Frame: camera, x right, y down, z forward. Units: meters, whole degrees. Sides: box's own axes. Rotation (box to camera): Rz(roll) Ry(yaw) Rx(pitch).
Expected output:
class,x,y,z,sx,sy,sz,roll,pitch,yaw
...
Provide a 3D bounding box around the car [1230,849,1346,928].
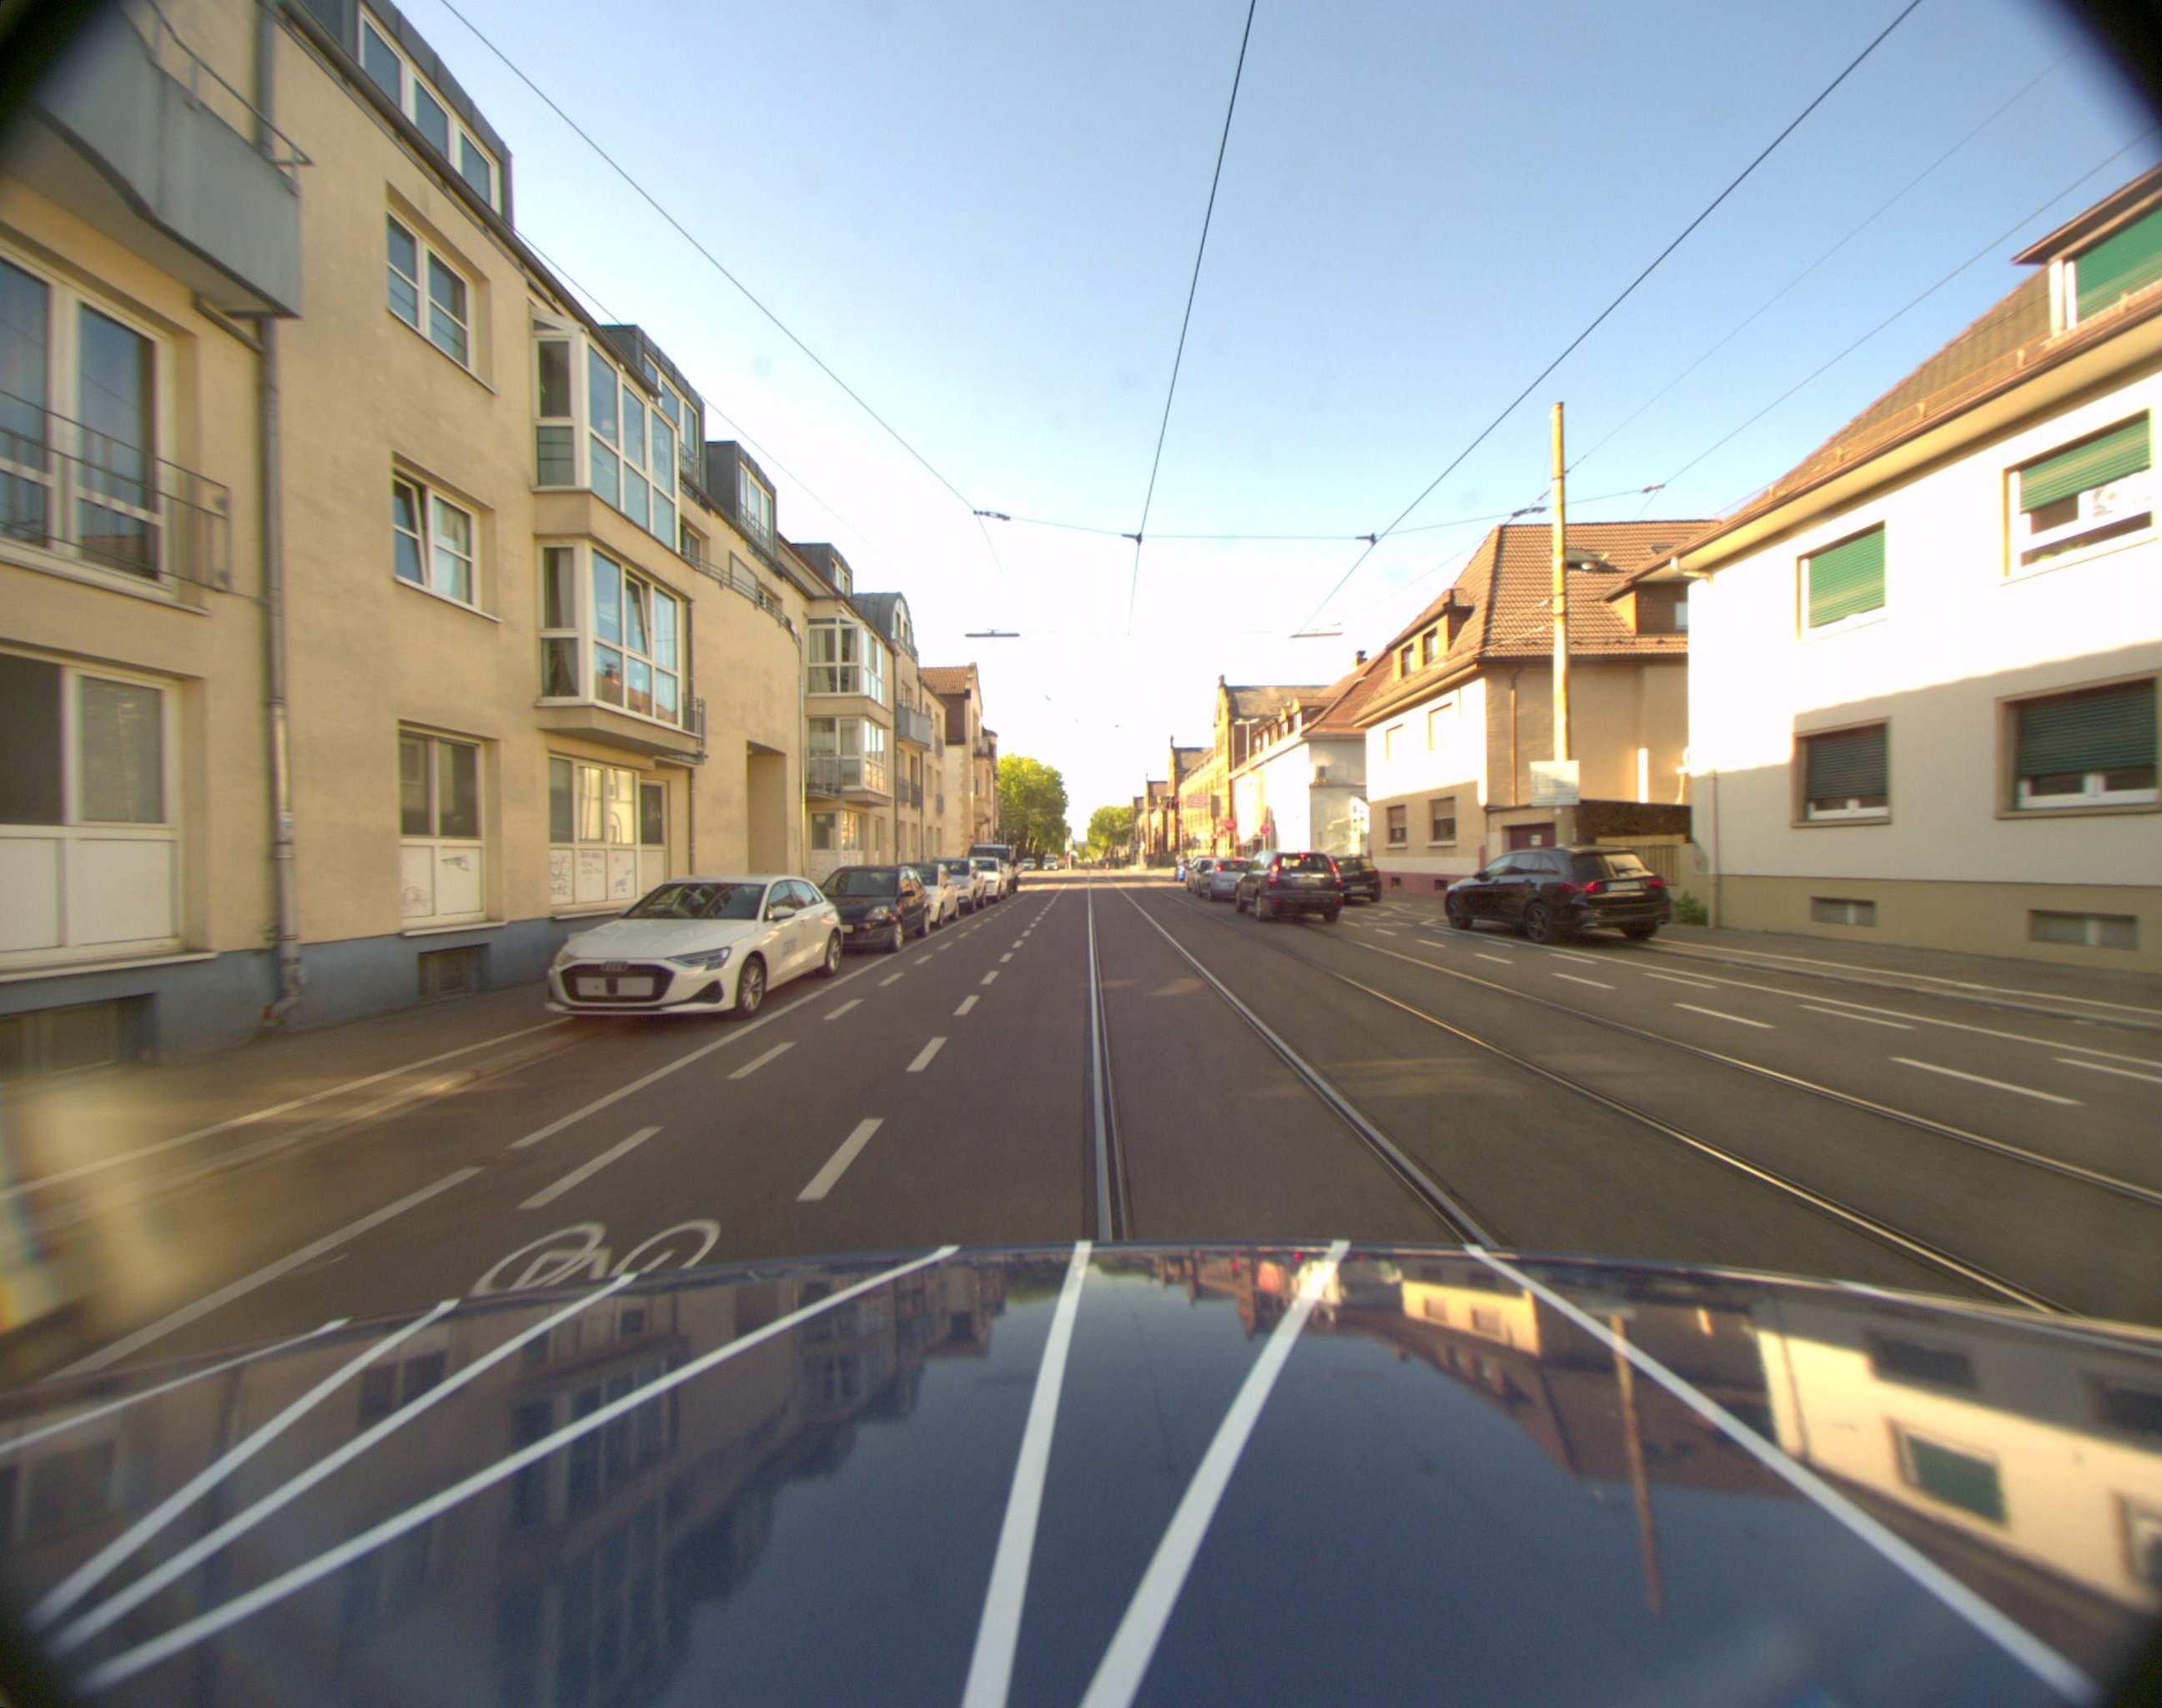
class,x,y,z,sx,sy,sz,roll,pitch,yaw
car,4.901,0.736,18.615,1.708,1.695,4.364,1,0,1

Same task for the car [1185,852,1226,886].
class,x,y,z,sx,sy,sz,roll,pitch,yaw
car,6.341,0.704,39.094,1.742,1.601,4.716,1,0,5

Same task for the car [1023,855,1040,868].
class,x,y,z,sx,sy,sz,roll,pitch,yaw
car,-6.457,0.952,99.726,1.911,1.608,4.572,-2,-1,0

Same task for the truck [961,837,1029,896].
class,x,y,z,sx,sy,sz,roll,pitch,yaw
truck,-3.800,0.537,34.885,2.301,2.463,6.146,-1,0,1

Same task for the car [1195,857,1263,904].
class,x,y,z,sx,sy,sz,roll,pitch,yaw
car,5.060,0.854,26.441,1.621,1.452,4.075,1,0,1

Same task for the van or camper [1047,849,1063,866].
class,x,y,z,sx,sy,sz,roll,pitch,yaw
van or camper,-3.771,0.591,110.694,1.998,2.346,5.600,-1,-1,0

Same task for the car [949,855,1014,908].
class,x,y,z,sx,sy,sz,roll,pitch,yaw
car,-3.655,0.965,28.607,1.743,1.736,4.255,-2,0,1

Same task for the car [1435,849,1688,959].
class,x,y,z,sx,sy,sz,roll,pitch,yaw
car,8.528,0.771,14.089,1.766,1.695,4.555,1,0,0

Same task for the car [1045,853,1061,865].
class,x,y,z,sx,sy,sz,roll,pitch,yaw
car,-3.708,0.717,101.350,1.984,1.539,4.035,-1,-1,1

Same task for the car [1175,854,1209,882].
class,x,y,z,sx,sy,sz,roll,pitch,yaw
car,6.611,0.811,45.502,1.687,1.558,3.929,1,0,4

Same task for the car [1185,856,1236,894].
class,x,y,z,sx,sy,sz,roll,pitch,yaw
car,5.340,0.837,31.629,1.586,1.452,3.613,1,0,2

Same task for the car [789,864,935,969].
class,x,y,z,sx,sy,sz,roll,pitch,yaw
car,-3.827,1.013,13.879,1.558,1.548,3.652,-2,0,0

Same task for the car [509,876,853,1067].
class,x,y,z,sx,sy,sz,roll,pitch,yaw
car,-4.116,1.082,8.713,1.681,1.482,4.172,-2,0,0

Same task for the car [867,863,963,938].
class,x,y,z,sx,sy,sz,roll,pitch,yaw
car,-3.874,1.032,18.208,1.500,1.548,3.364,-2,0,0

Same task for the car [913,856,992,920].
class,x,y,z,sx,sy,sz,roll,pitch,yaw
car,-3.800,0.952,23.069,1.606,1.690,3.989,-2,0,1

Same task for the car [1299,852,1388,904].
class,x,y,z,sx,sy,sz,roll,pitch,yaw
car,8.777,0.746,25.757,1.619,1.618,3.921,1,0,0
